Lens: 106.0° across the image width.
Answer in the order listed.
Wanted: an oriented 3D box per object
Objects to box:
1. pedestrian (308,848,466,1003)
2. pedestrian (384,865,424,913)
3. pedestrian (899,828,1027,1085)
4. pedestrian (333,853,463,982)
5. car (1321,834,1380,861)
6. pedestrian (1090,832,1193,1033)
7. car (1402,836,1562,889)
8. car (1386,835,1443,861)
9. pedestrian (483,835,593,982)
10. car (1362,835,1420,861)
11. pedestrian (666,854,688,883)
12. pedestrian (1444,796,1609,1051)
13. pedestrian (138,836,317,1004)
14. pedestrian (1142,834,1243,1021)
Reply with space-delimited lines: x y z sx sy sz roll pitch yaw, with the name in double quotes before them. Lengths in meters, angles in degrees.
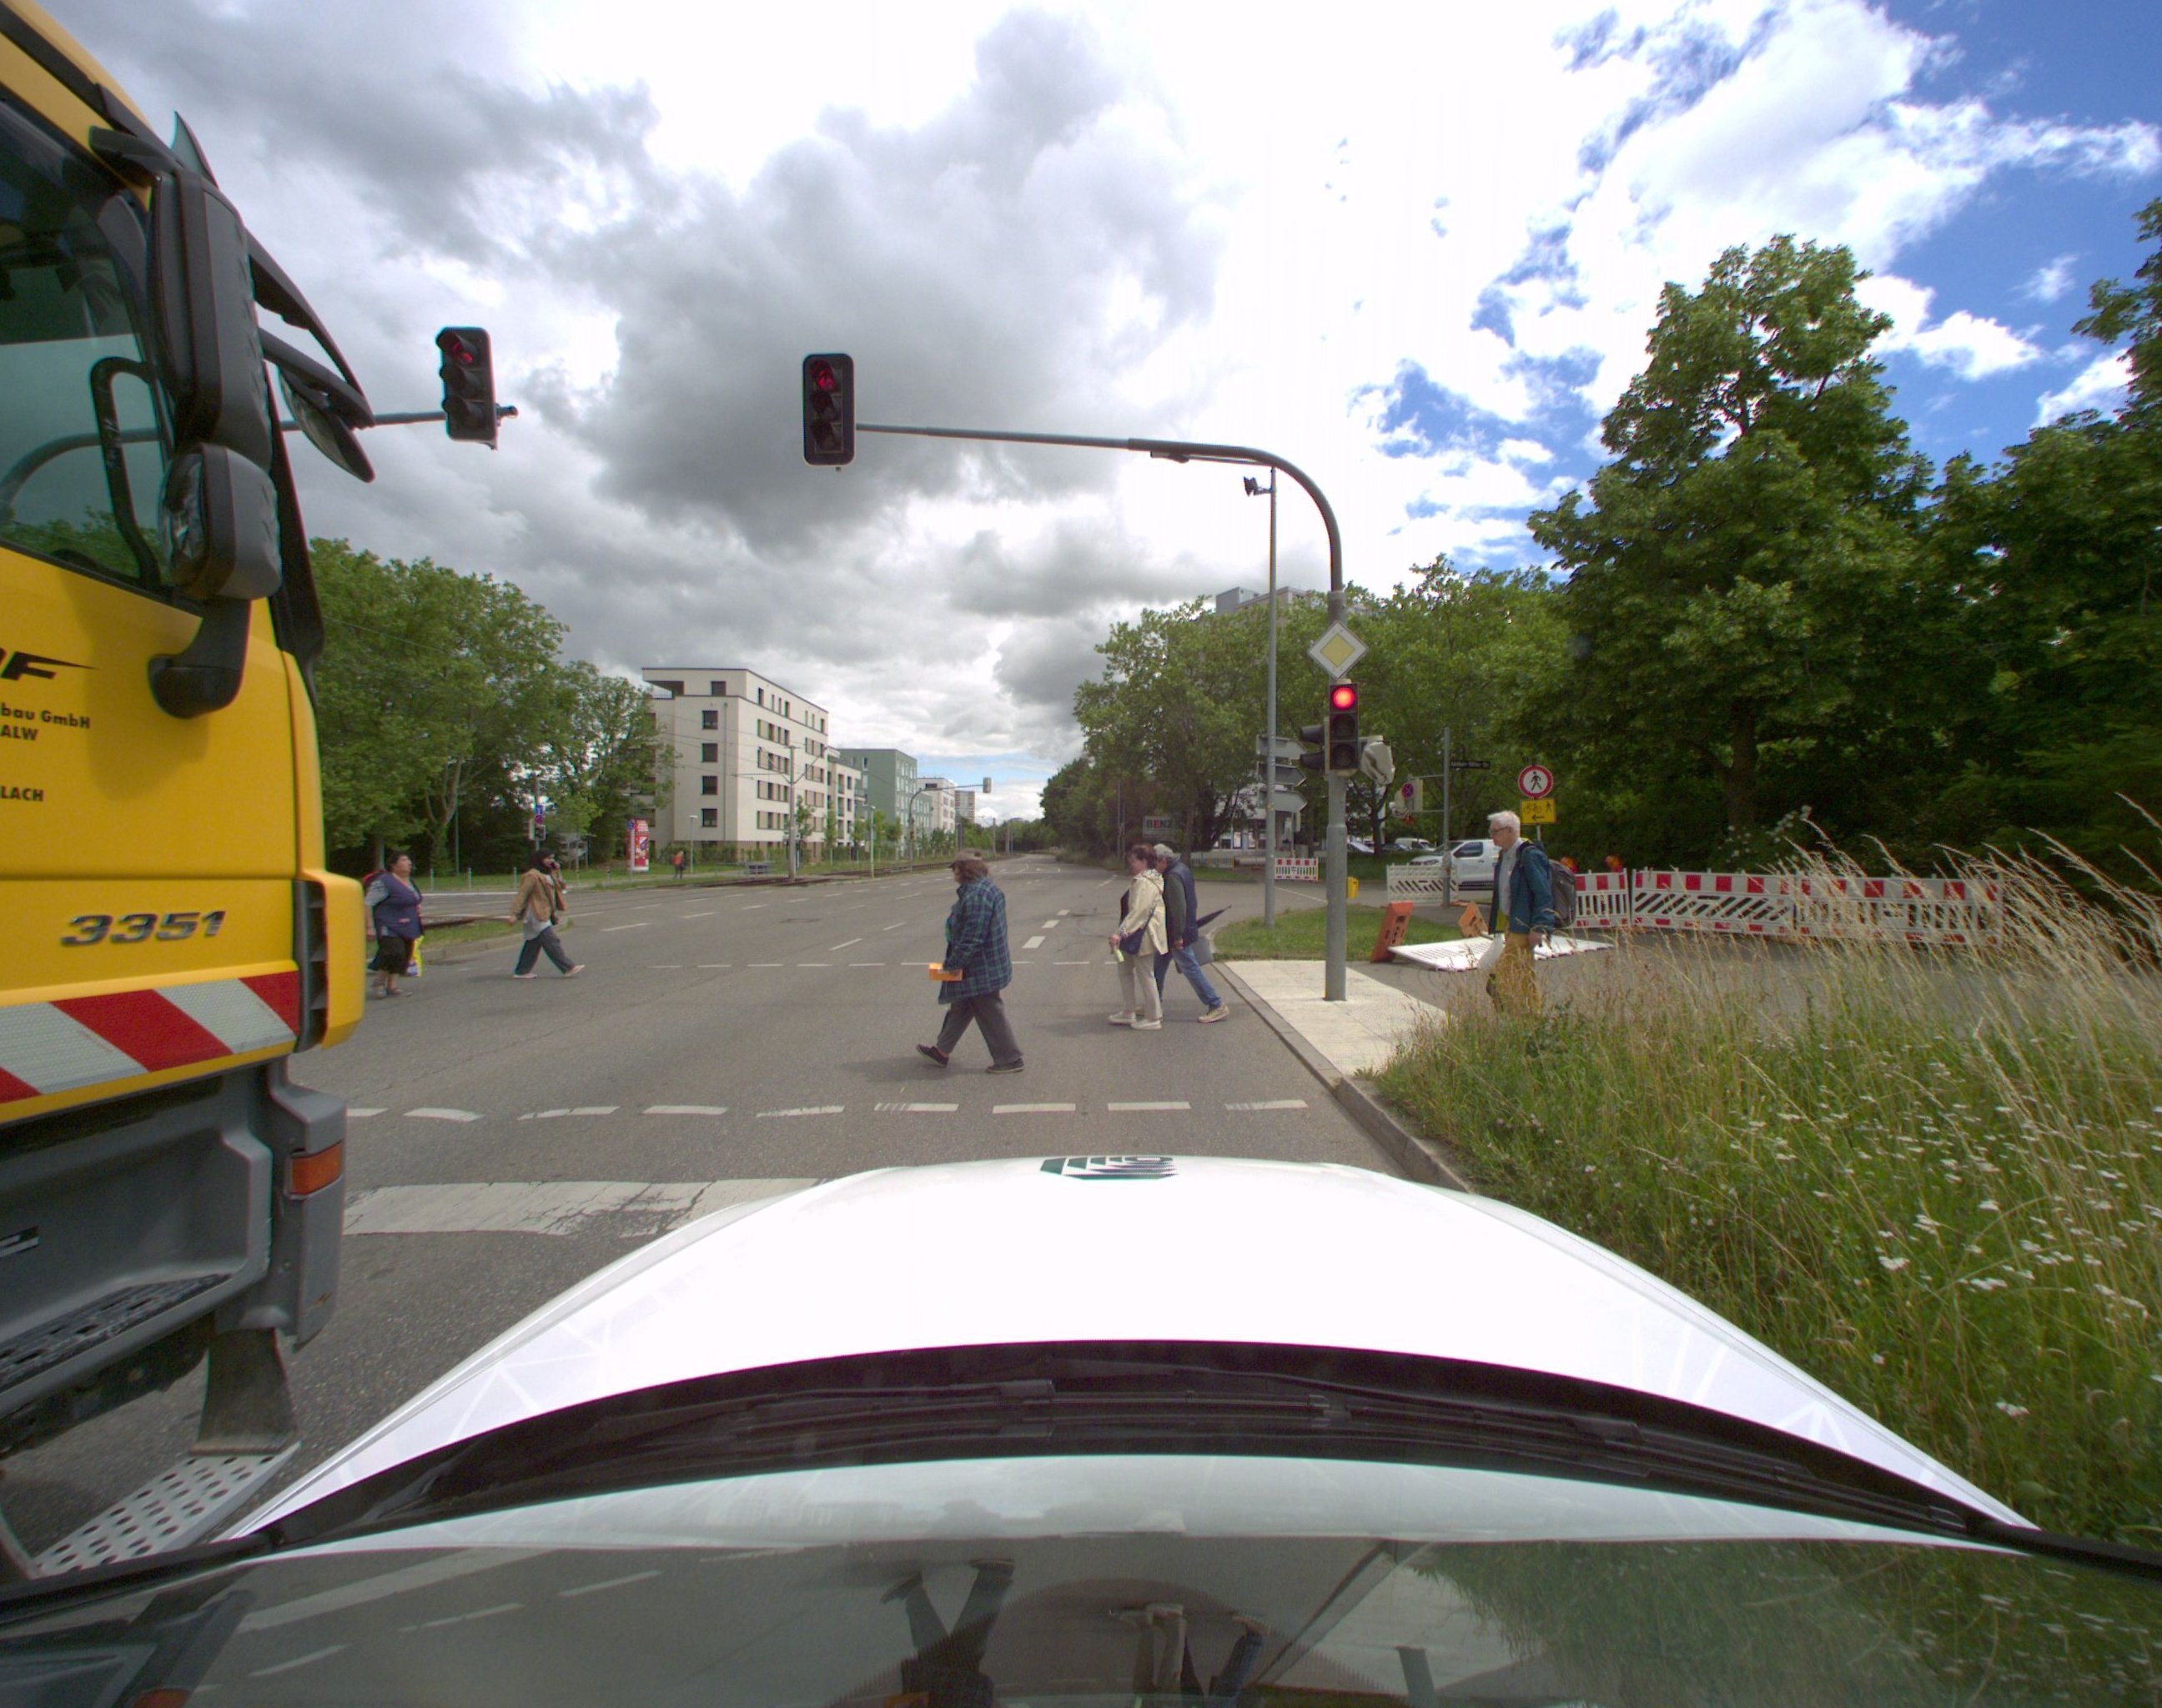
"pedestrian" -7.570 0.739 8.934 0.909 1.607 0.930 -1 0 2
"pedestrian" -24.178 1.234 29.102 1.075 1.648 0.700 -1 0 -40
"pedestrian" -0.812 0.666 5.738 0.821 1.671 0.732 -1 0 -7
"pedestrian" -8.874 0.790 10.626 0.889 1.596 0.908 -1 0 2
"car" 20.569 -0.482 62.256 2.006 2.013 3.962 -1 0 -29
"pedestrian" 0.515 0.638 7.003 0.819 1.640 0.734 -1 0 3
"car" 14.920 0.304 30.461 5.063 1.874 1.947 -1 0 -2
"car" 27.315 -0.494 66.871 2.006 2.013 3.962 -1 0 -29
"pedestrian" -6.733 0.649 10.138 0.779 1.742 0.829 -1 0 2
"car" 24.600 -0.490 64.737 2.006 2.013 3.962 -1 0 -29
"pedestrian" -21.696 0.770 43.782 0.827 1.516 0.636 -1 0 1
"pedestrian" 3.377 0.482 6.285 1.001 1.774 0.953 -1 0 22
"pedestrian" -9.515 0.702 9.123 0.998 1.773 0.930 -1 0 2
"pedestrian" 1.018 0.638 7.535 0.864 1.634 0.767 -1 0 6
